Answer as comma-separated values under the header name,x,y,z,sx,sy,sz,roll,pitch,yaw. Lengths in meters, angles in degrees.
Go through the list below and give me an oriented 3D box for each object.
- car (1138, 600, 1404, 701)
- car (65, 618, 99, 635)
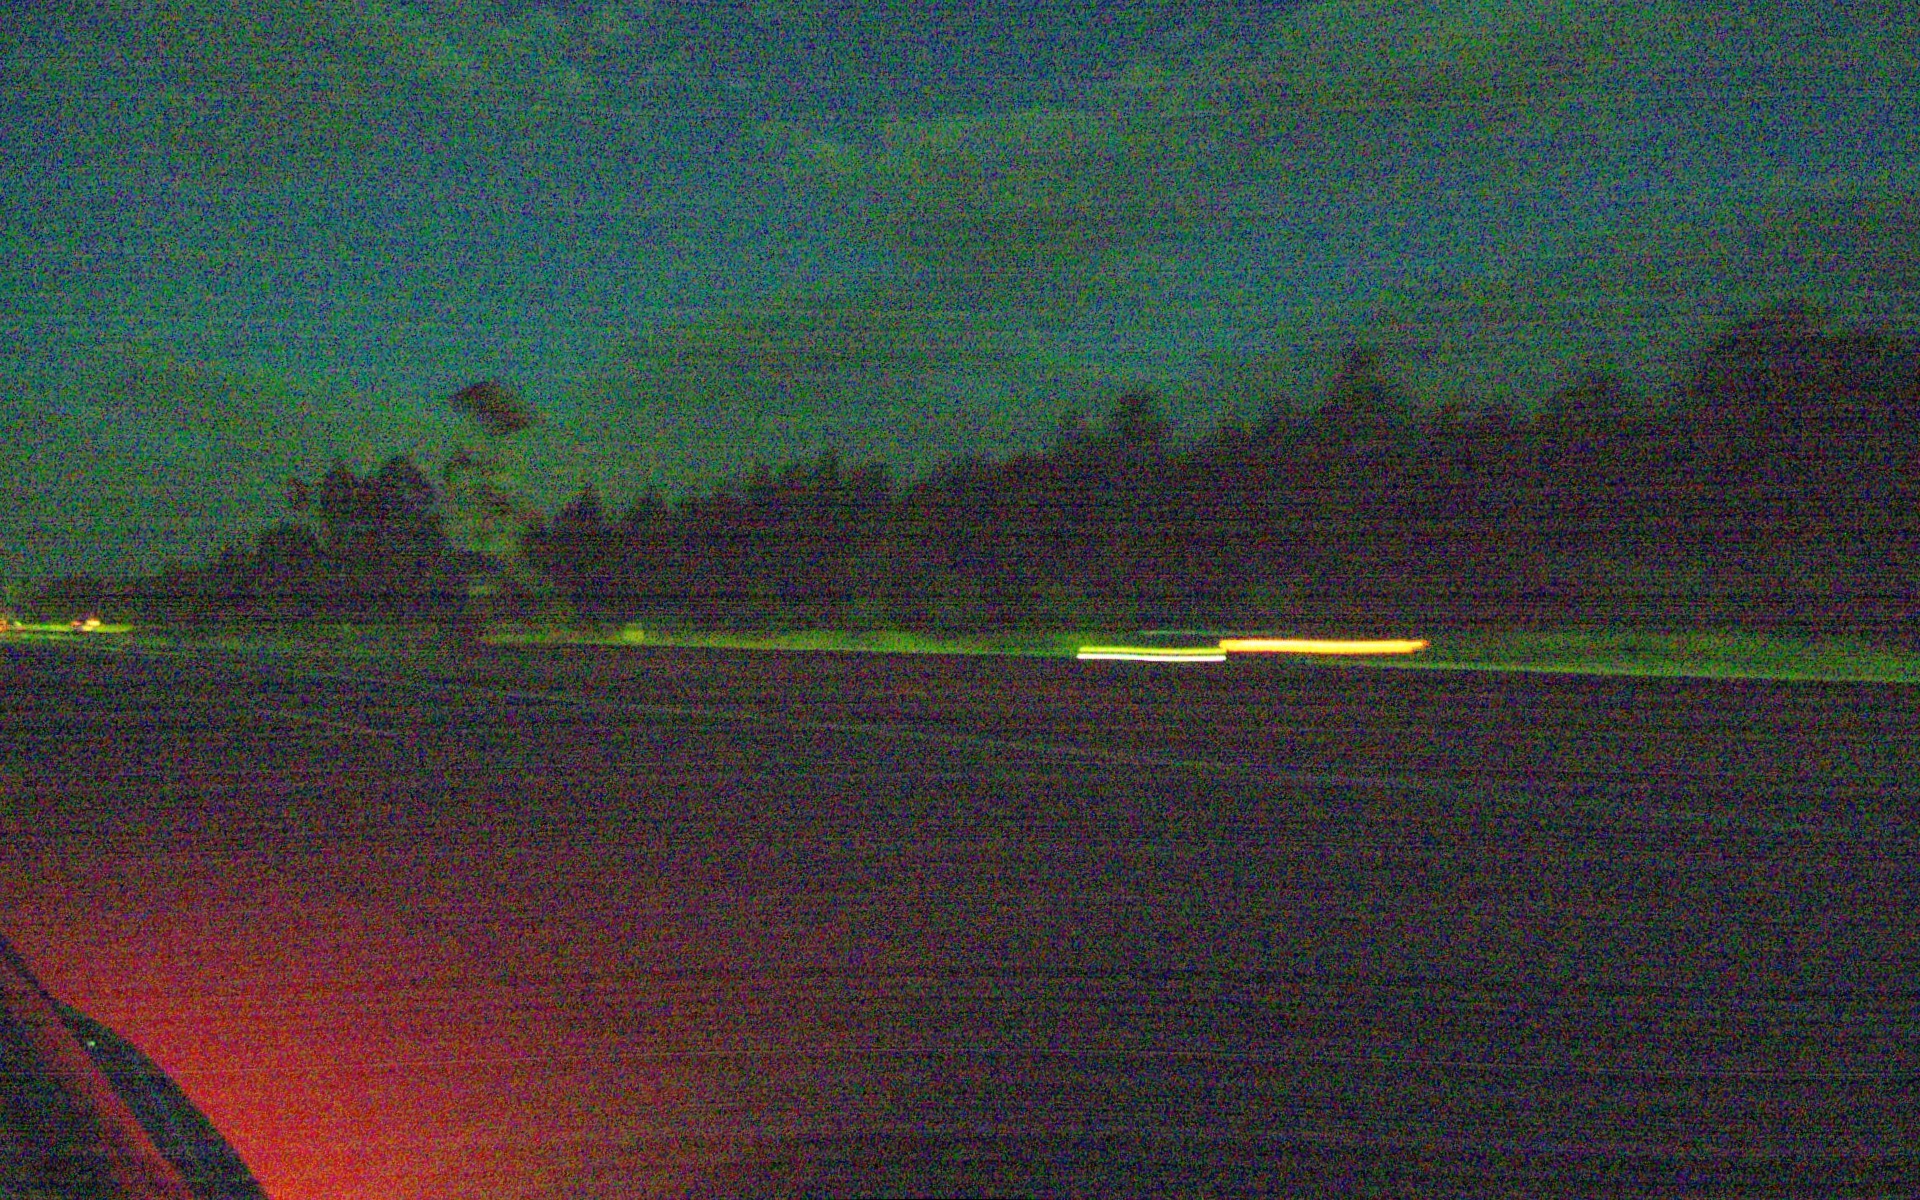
name,x,y,z,sx,sy,sz,roll,pitch,yaw
car,5.573,0.835,18.408,4.210,1.614,1.973,-1,0,41
car,-95.888,2.845,110.512,5.084,1.791,1.974,-1,0,39
